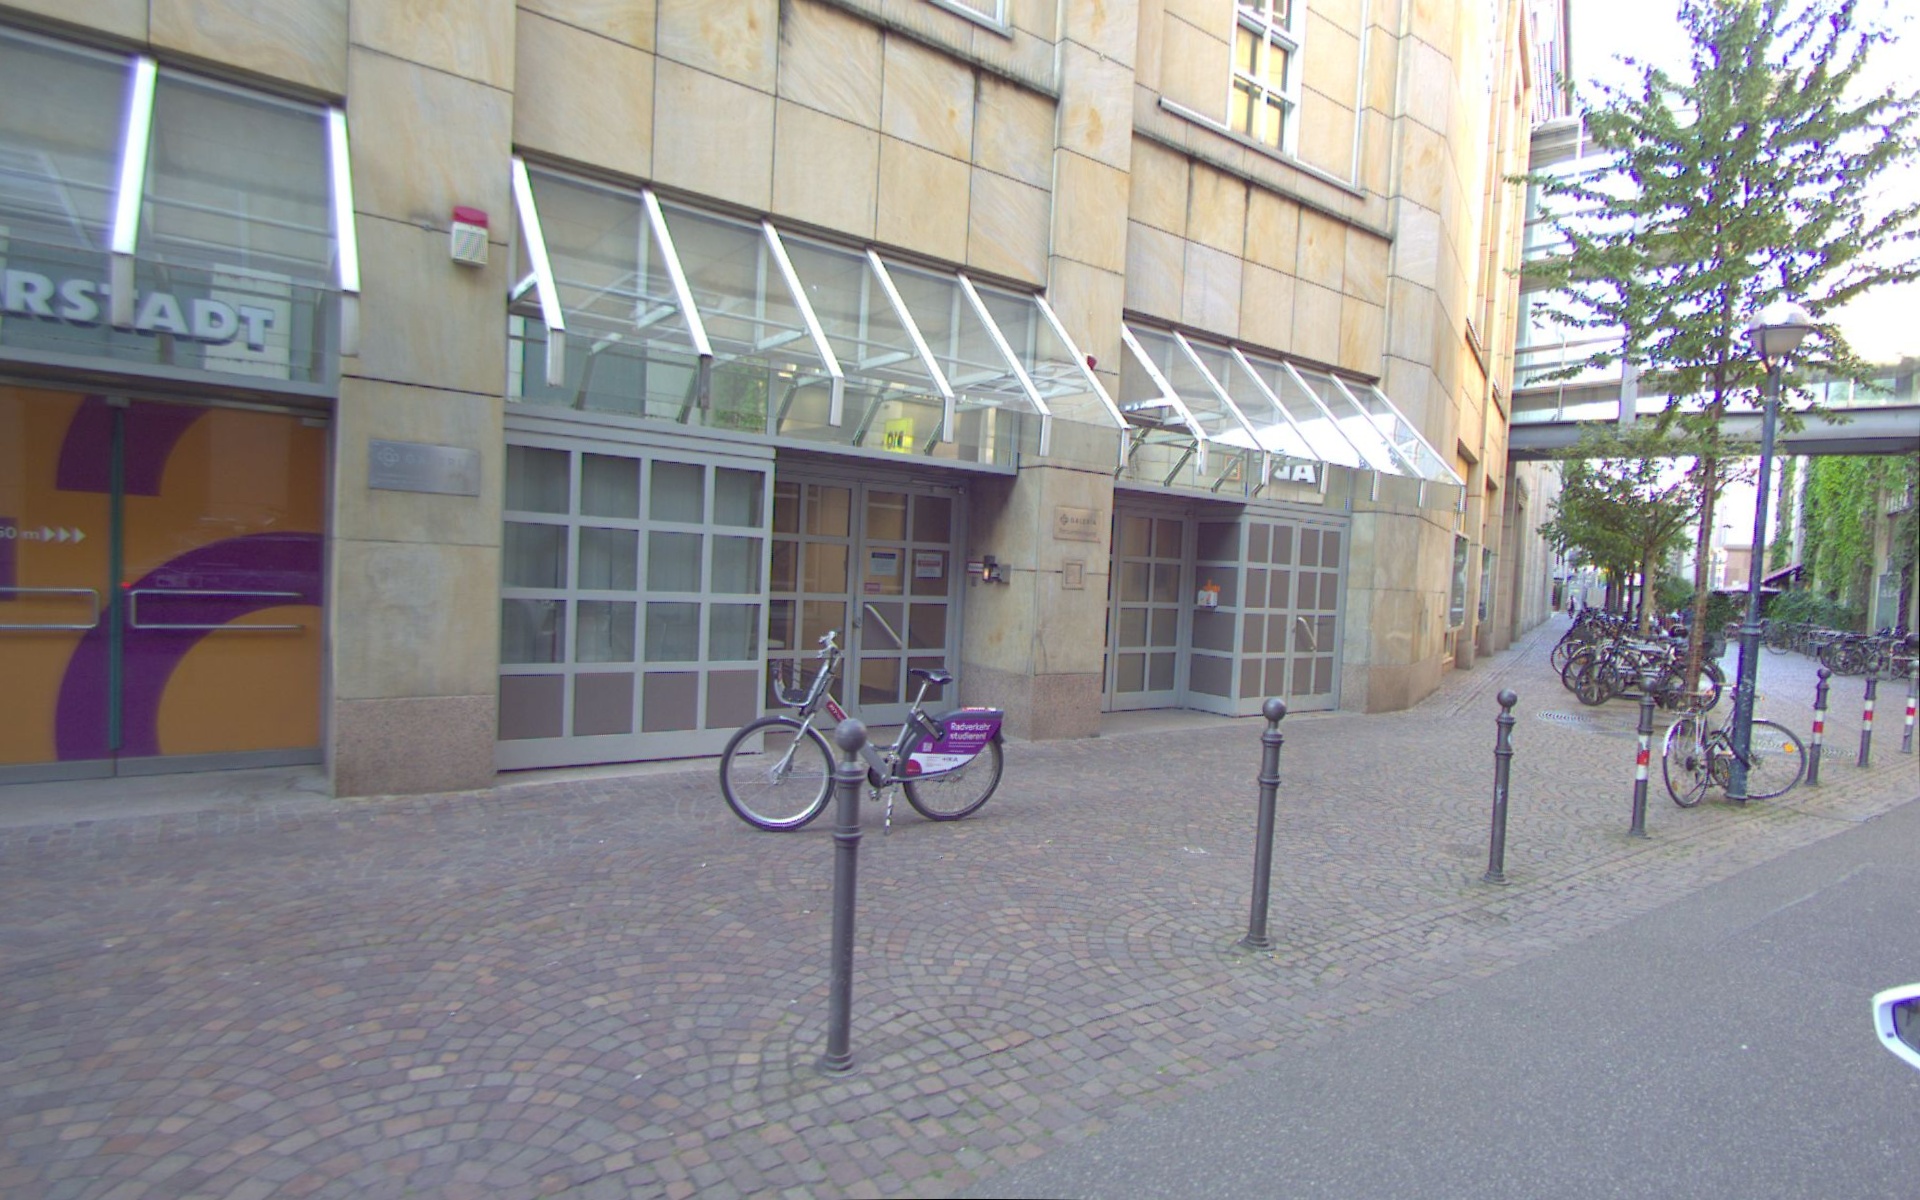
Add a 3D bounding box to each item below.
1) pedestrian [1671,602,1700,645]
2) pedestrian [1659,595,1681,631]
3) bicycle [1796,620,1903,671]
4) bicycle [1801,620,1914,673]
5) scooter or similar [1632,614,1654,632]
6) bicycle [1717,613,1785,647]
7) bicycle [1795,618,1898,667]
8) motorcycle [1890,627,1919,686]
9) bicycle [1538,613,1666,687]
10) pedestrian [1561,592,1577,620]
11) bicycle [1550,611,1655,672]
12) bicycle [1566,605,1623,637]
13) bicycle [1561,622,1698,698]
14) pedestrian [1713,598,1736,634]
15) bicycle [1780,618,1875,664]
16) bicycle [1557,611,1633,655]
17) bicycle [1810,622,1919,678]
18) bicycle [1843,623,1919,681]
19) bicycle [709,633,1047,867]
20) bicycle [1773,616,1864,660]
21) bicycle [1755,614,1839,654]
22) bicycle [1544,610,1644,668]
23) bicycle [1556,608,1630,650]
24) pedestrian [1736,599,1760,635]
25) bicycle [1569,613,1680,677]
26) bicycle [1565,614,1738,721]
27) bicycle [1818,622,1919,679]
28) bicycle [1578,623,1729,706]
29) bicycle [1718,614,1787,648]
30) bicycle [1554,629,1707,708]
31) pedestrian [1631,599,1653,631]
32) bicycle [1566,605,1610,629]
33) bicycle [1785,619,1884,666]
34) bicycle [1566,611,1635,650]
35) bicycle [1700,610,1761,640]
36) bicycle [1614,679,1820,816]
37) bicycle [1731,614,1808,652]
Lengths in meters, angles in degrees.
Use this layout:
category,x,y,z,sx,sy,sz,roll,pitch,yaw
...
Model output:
category,x,y,z,sx,sy,sz,roll,pitch,yaw
pedestrian,26.738,0.870,37.026,0.737,1.530,0.636,3,2,32
pedestrian,36.464,0.662,51.593,0.754,1.828,0.775,3,2,32
bicycle,23.115,1.164,26.159,1.967,1.198,0.800,2,1,35
bicycle,22.221,1.134,24.936,1.967,1.198,0.800,2,1,35
scooter or similar,35.627,1.183,52.433,0.879,0.854,0.909,3,2,32
bicycle,30.195,1.141,38.403,1.967,1.198,0.692,2,1,35
bicycle,23.746,1.129,26.958,1.967,1.198,0.692,2,1,35
motorcycle,20.016,1.174,20.279,1.724,1.171,0.592,2,1,37
bicycle,11.814,0.890,18.503,1.888,1.198,0.693,4,2,37
pedestrian,40.795,0.392,67.302,0.763,1.828,0.633,3,2,29
bicycle,14.362,0.912,22.482,1.888,1.198,0.693,4,2,37
bicycle,26.223,0.867,41.535,1.888,1.198,0.693,4,2,37
bicycle,11.543,1.006,17.348,1.888,1.116,0.693,4,2,37
pedestrian,40.528,0.825,53.229,0.763,1.828,0.766,3,2,29
bicycle,24.929,1.155,28.910,1.967,1.198,0.692,2,1,35
bicycle,19.660,1.010,31.125,1.888,1.198,0.693,4,2,37
bicycle,21.586,1.173,23.894,1.967,1.198,0.800,2,1,35
bicycle,20.780,1.139,22.060,1.967,1.198,0.694,2,1,35
bicycle,-0.465,0.789,5.674,1.751,1.127,0.692,2,2,-22
bicycle,25.520,1.111,29.911,1.967,1.198,0.692,2,1,35
bicycle,26.774,1.075,32.172,1.967,1.198,0.692,2,1,35
bicycle,14.858,0.898,23.562,1.888,1.198,0.693,4,2,37
bicycle,20.092,0.907,31.897,1.888,1.198,0.693,4,2,37
pedestrian,41.146,0.878,52.433,0.763,1.828,0.766,3,2,29
bicycle,14.191,0.937,21.464,1.888,1.198,0.693,4,2,37
bicycle,9.620,0.898,14.053,1.887,1.278,0.806,4,2,34
bicycle,21.087,1.156,23.093,1.967,1.198,0.694,2,1,35
bicycle,11.031,0.994,16.046,1.887,1.116,0.694,4,2,34
bicycle,29.714,1.153,37.698,1.967,1.198,0.692,2,1,35
bicycle,10.302,1.025,15.500,1.887,1.007,0.694,4,2,34
pedestrian,36.125,0.800,53.203,0.879,1.661,0.909,3,2,32
bicycle,33.824,0.916,54.104,1.888,1.198,0.693,4,2,37
bicycle,24.196,1.158,27.830,1.967,1.198,0.692,2,1,35
bicycle,21.843,1.031,34.275,1.888,1.198,0.693,4,2,37
bicycle,32.651,1.053,42.608,1.967,1.198,0.692,2,1,35
bicycle,6.132,1.159,8.125,1.670,0.979,0.504,2,2,-22
bicycle,27.526,1.121,34.209,1.967,1.198,0.692,2,1,35
